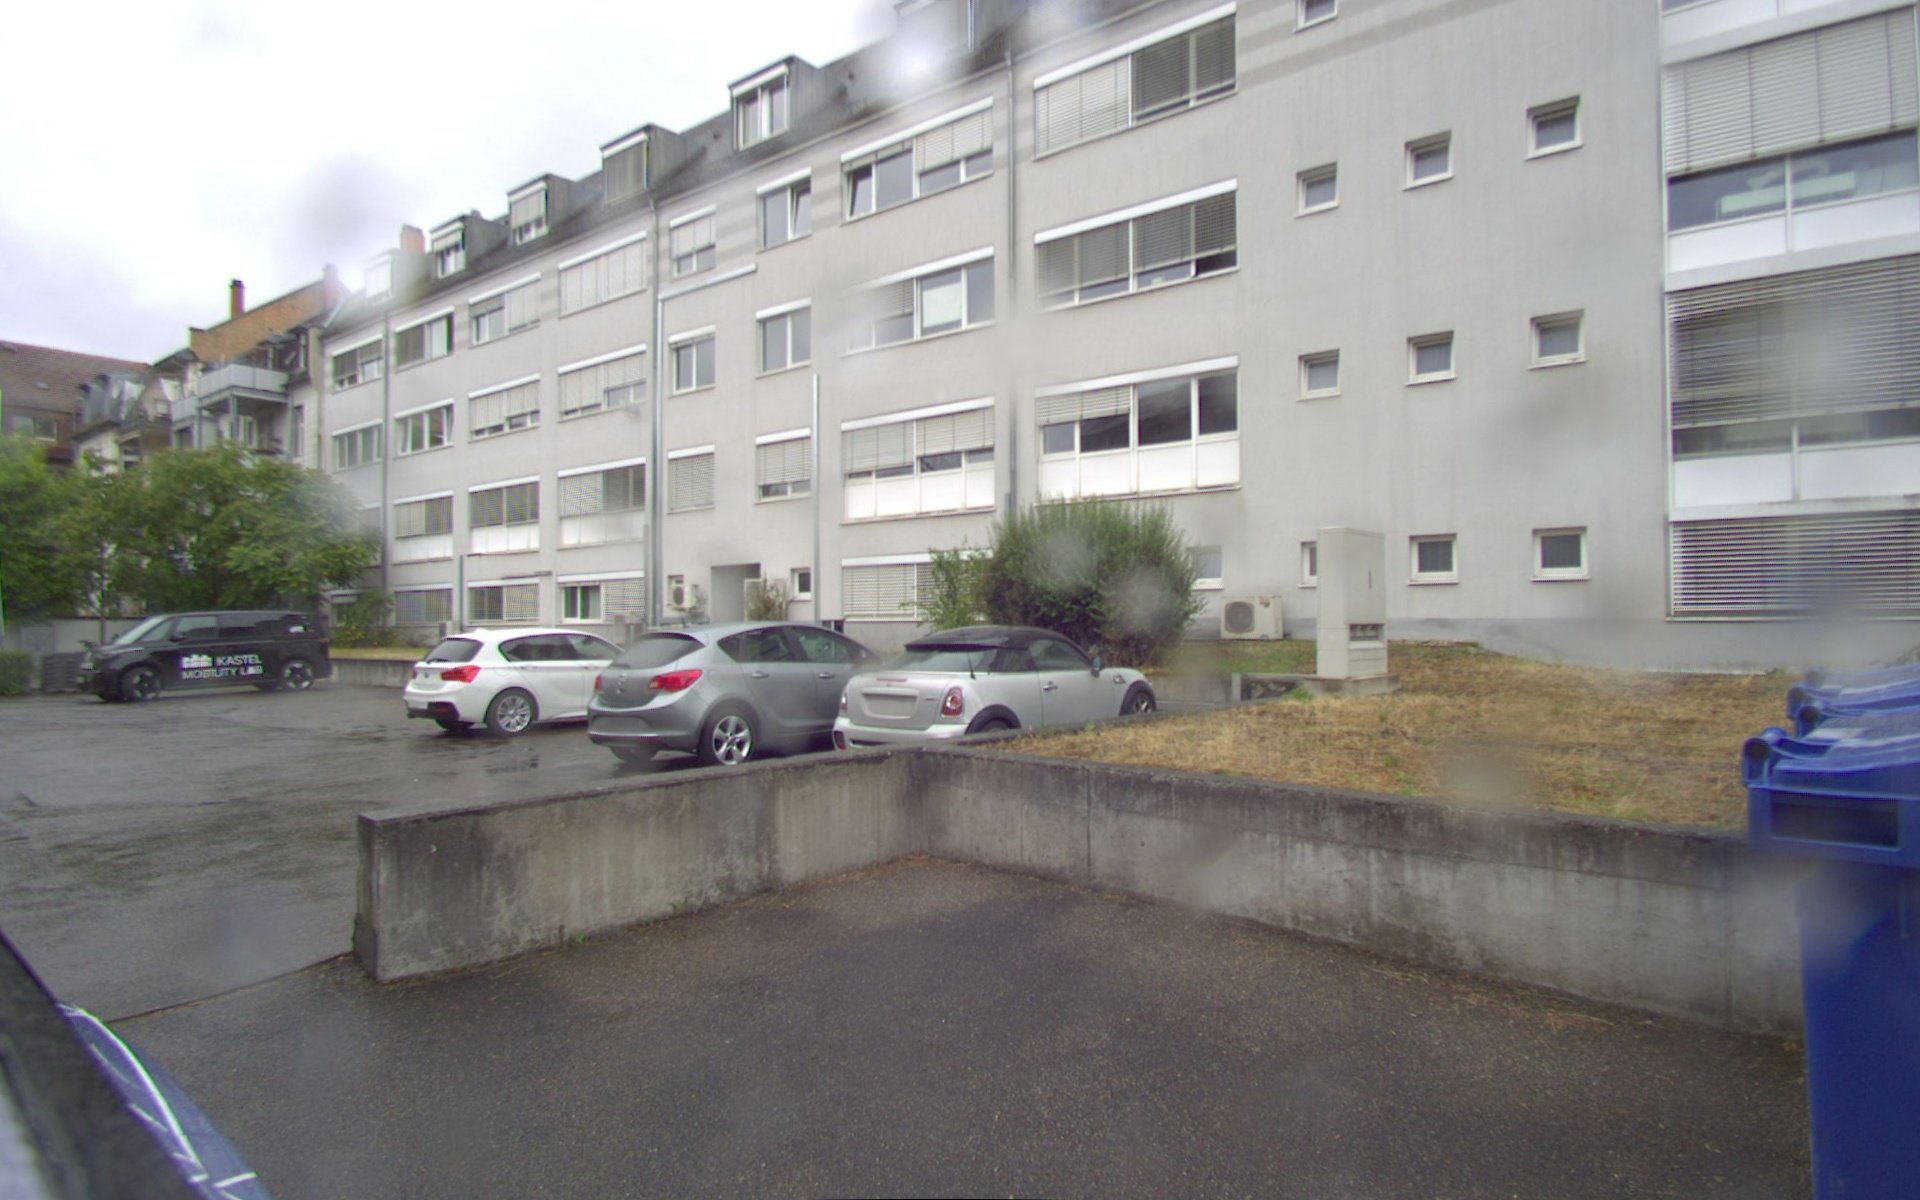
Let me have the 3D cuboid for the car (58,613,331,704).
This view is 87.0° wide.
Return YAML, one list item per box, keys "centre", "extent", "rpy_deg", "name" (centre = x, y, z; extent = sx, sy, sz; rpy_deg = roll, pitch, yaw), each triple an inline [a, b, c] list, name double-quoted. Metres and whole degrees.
- centre: [-17.180, 1.253, 22.953]
  extent: [1.984, 1.851, 4.576]
  rpy_deg: [-3, -2, 35]
  name: "car"

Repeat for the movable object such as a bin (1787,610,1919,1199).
- centre: [2.801, 0.693, 2.424]
  extent: [1.117, 1.347, 1.189]
  rpy_deg: [-4, -2, 44]
  name: "movable object such as a bin"

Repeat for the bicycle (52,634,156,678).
- centre: [-25.519, 1.647, 30.205]
  extent: [0.643, 1.195, 2.288]
  rpy_deg: [1, 0, 43]
  name: "bicycle"

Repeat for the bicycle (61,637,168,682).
- centre: [-24.193, 1.675, 28.986]
  extent: [0.643, 1.195, 2.288]
  rpy_deg: [1, 0, 43]
  name: "bicycle"

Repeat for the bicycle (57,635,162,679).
- centre: [-25.023, 1.657, 29.810]
  extent: [0.643, 1.195, 2.288]
  rpy_deg: [1, 0, 43]
  name: "bicycle"

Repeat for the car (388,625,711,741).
- centre: [-5.867, 1.095, 14.893]
  extent: [1.751, 1.444, 4.100]
  rpy_deg: [-1, -2, 38]
  name: "car"

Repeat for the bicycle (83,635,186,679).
- centre: [-24.312, 1.671, 29.842]
  extent: [0.643, 1.195, 2.288]
  rpy_deg: [1, 0, 43]
  name: "bicycle"

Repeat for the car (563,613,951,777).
- centre: [-2.098, 0.933, 11.440]
  extent: [1.819, 1.495, 4.126]
  rpy_deg: [-3, -3, 38]
  name: "car"

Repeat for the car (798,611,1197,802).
- centre: [0.576, 0.875, 10.054]
  extent: [1.820, 1.343, 4.125]
  rpy_deg: [-3, 0, 39]
  name: "car"

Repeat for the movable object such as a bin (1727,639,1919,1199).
- centre: [1.929, 0.743, 1.447]
  extent: [1.188, 1.347, 1.118]
  rpy_deg: [1, -2, -43]
  name: "movable object such as a bin"

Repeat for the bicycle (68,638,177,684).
- centre: [-23.555, 1.688, 28.501]
  extent: [0.643, 1.195, 2.288]
  rpy_deg: [1, 0, 43]
  name: "bicycle"
